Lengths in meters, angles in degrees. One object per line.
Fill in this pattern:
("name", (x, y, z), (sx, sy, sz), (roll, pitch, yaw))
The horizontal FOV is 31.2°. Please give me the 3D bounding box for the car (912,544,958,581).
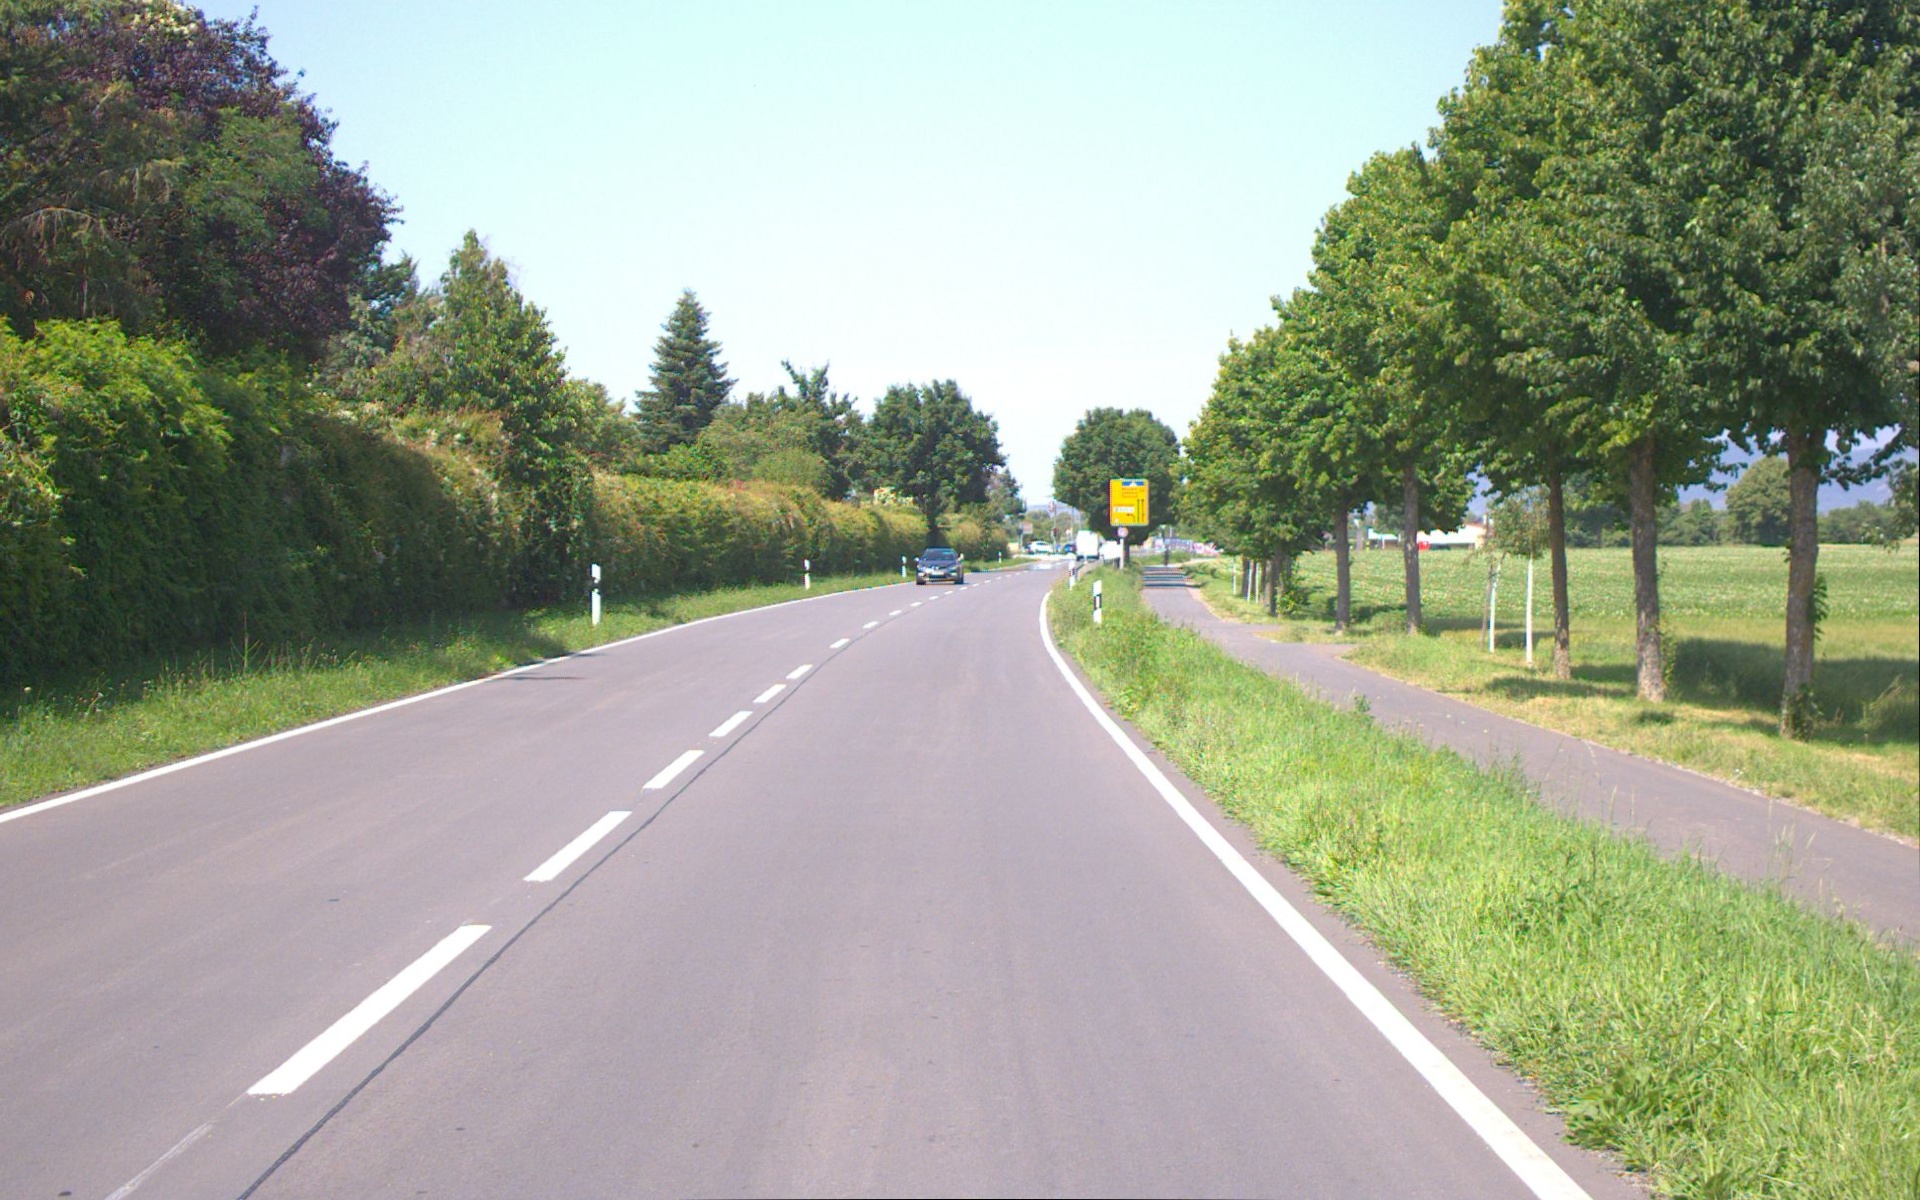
("car", (-1.024, -1.537, 140.291), (1.840, 1.462, 3.933), (0, 1, 0))
